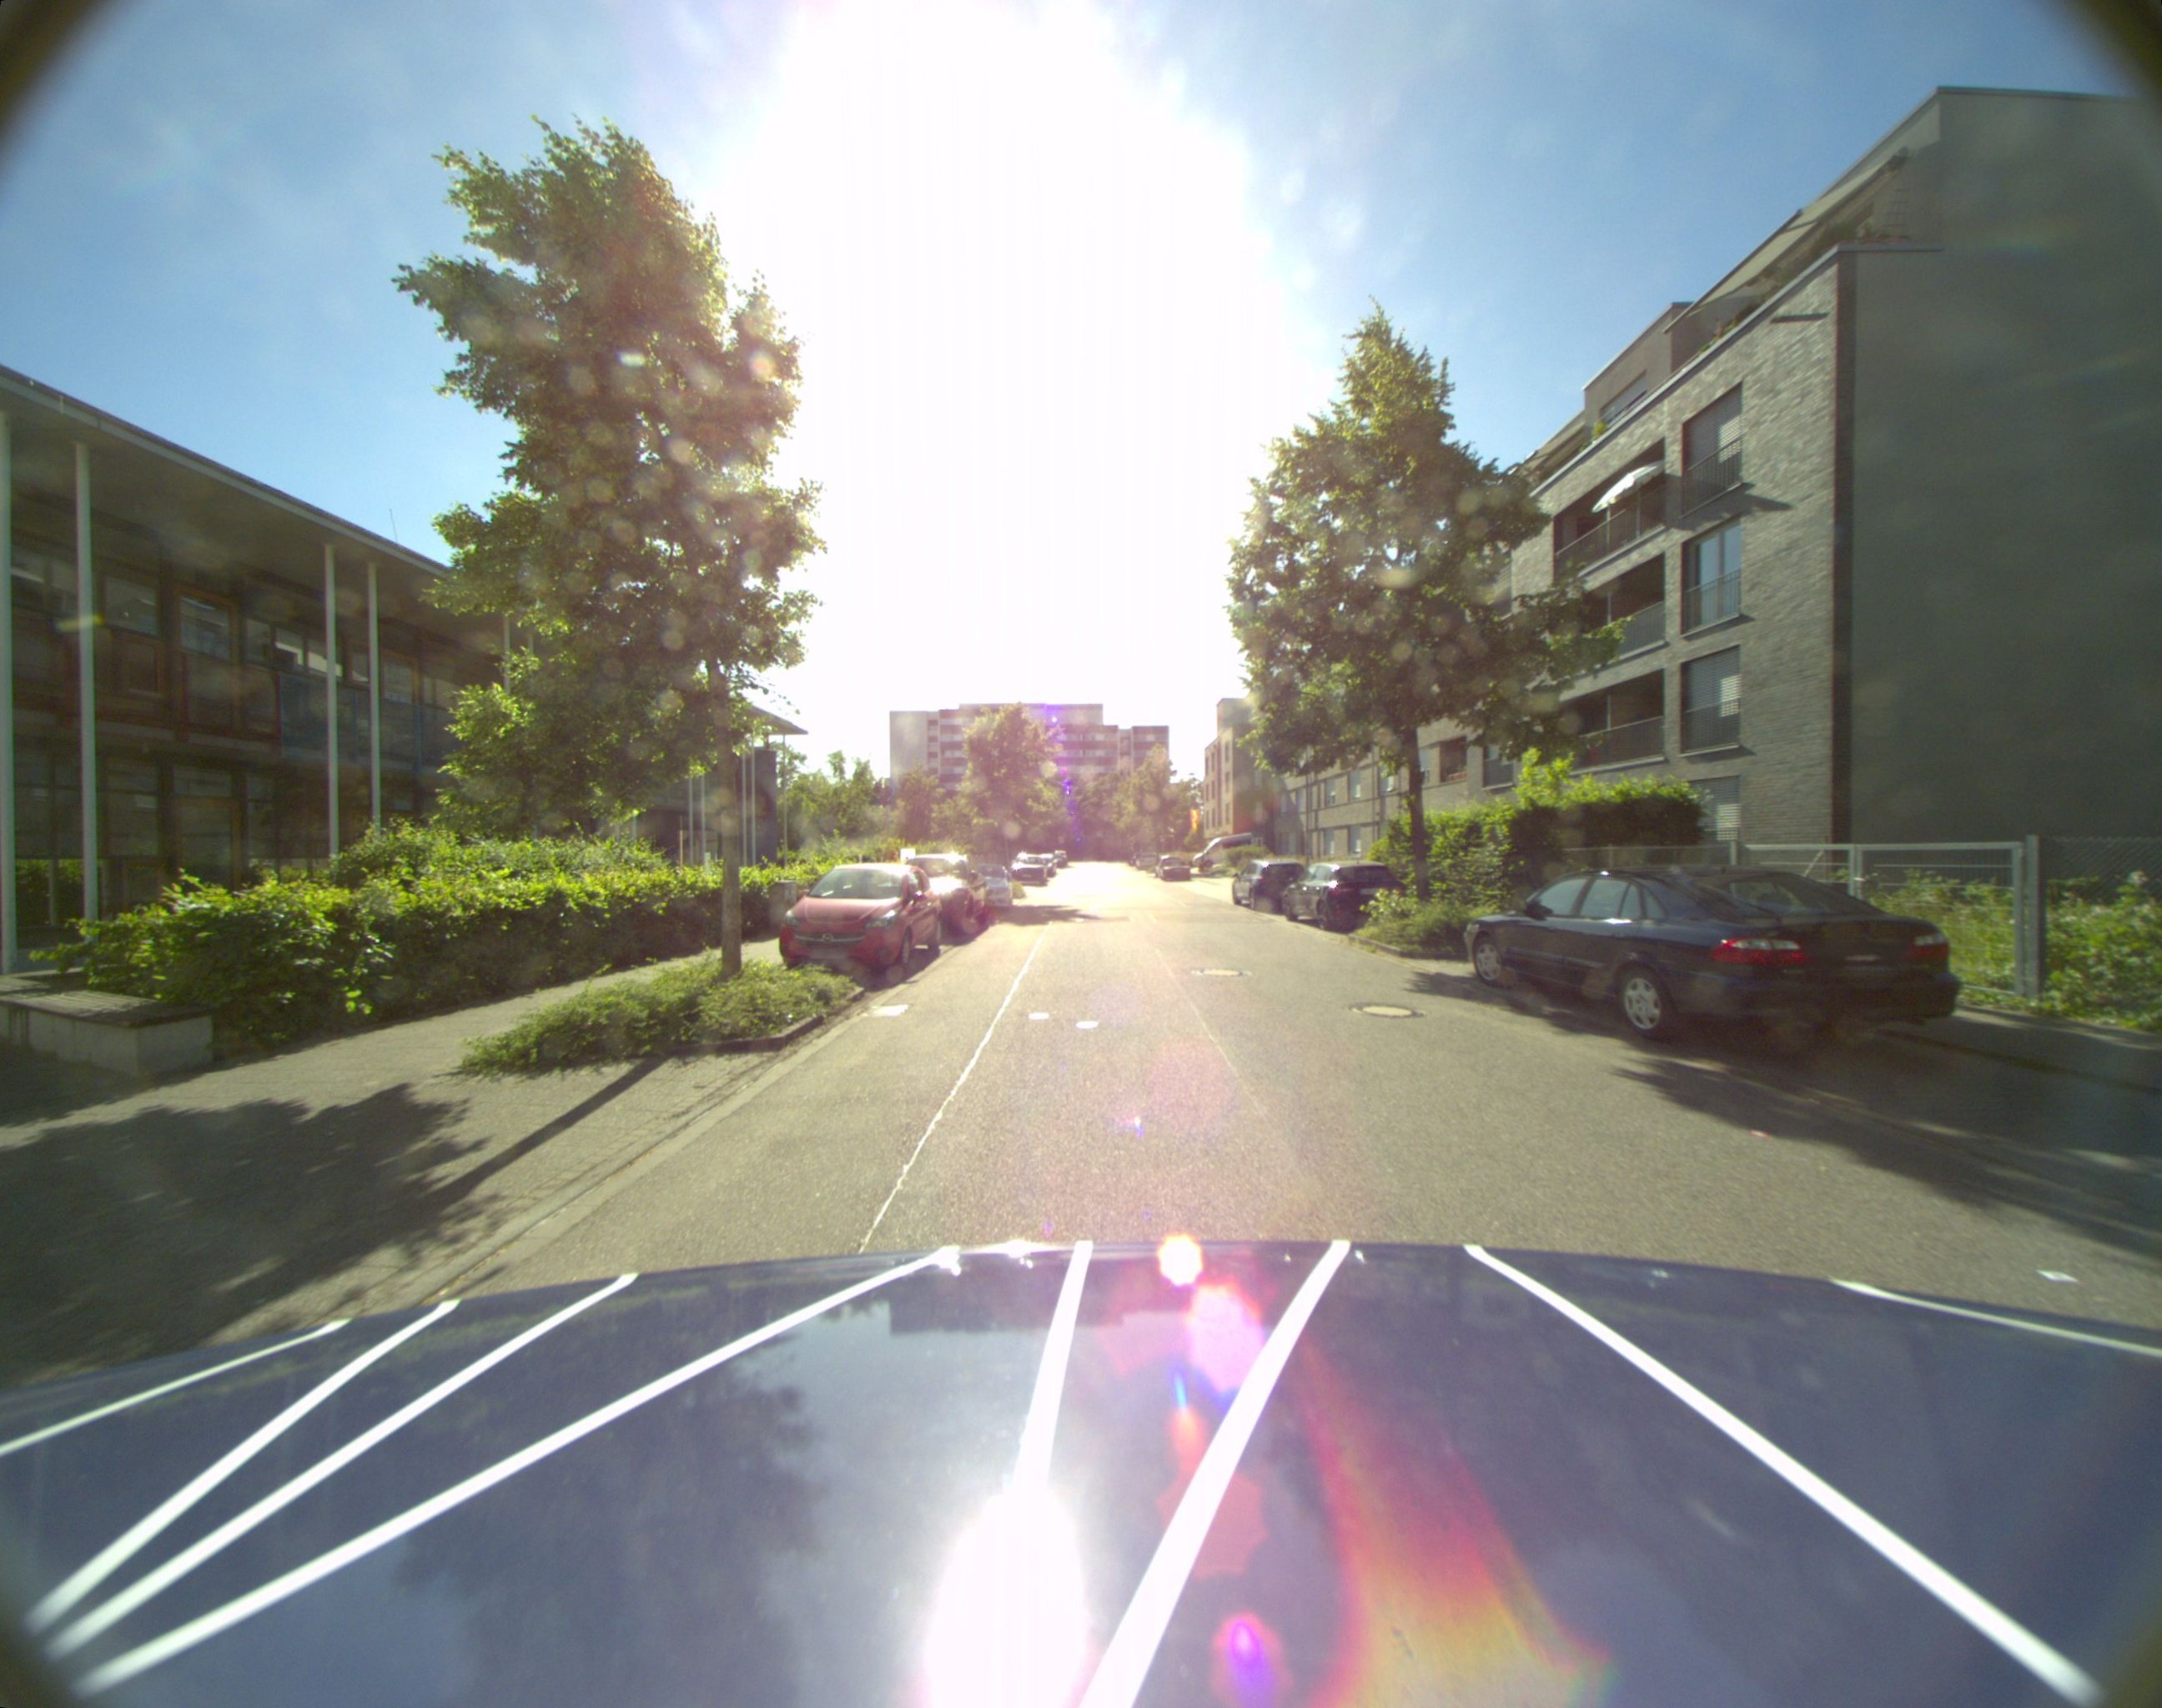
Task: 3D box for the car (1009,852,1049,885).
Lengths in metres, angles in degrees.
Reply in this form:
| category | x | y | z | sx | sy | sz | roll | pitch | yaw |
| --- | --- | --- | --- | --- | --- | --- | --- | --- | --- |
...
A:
| category | x | y | z | sx | sy | sz | roll | pitch | yaw |
| --- | --- | --- | --- | --- | --- | --- | --- | --- | --- |
| car | -2.857 | 0.743 | 42.523 | 1.823 | 1.638 | 4.488 | 3 | 1 | 0 |

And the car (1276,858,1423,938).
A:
| category | x | y | z | sx | sy | sz | roll | pitch | yaw |
| --- | --- | --- | --- | --- | --- | --- | --- | --- | --- |
| car | 5.803 | 0.876 | 16.961 | 1.845 | 1.465 | 4.027 | -2 | 1 | 1 |

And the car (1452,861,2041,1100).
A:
| category | x | y | z | sx | sy | sz | roll | pitch | yaw |
| --- | --- | --- | --- | --- | --- | --- | --- | --- | --- |
| car | 5.566 | 0.882 | 7.315 | 1.845 | 1.465 | 4.359 | -2 | 0 | 1 |

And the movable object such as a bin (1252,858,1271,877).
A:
| category | x | y | z | sx | sy | sz | roll | pitch | yaw |
| --- | --- | --- | --- | --- | --- | --- | --- | --- | --- |
| movable object such as a bin | 10.483 | 0.769 | 44.102 | 0.862 | 1.032 | 0.677 | -3 | 1 | -2 |

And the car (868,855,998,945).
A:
| category | x | y | z | sx | sy | sz | roll | pitch | yaw |
| --- | --- | --- | --- | --- | --- | --- | --- | --- | --- |
| car | -3.107 | 0.888 | 16.917 | 1.905 | 1.673 | 4.411 | 1 | 1 | 1 |

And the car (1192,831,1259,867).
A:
| category | x | y | z | sx | sy | sz | roll | pitch | yaw |
| --- | --- | --- | --- | --- | --- | --- | --- | --- | --- |
| car | 11.955 | -0.409 | 62.958 | 5.153 | 2.886 | 2.013 | 0 | 1 | -3 |

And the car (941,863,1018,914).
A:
| category | x | y | z | sx | sy | sz | roll | pitch | yaw |
| --- | --- | --- | --- | --- | --- | --- | --- | --- | --- |
| car | -3.106 | 1.014 | 24.119 | 1.968 | 1.312 | 4.774 | 2 | 0 | -3 |

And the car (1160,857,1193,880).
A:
| category | x | y | z | sx | sy | sz | roll | pitch | yaw |
| --- | --- | --- | --- | --- | --- | --- | --- | --- | --- |
| car | 5.830 | 0.838 | 46.774 | 1.631 | 1.240 | 3.562 | -3 | 0 | 1 |

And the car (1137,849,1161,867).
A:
| category | x | y | z | sx | sy | sz | roll | pitch | yaw |
| --- | --- | --- | --- | --- | --- | --- | --- | --- | --- |
| car | 6.423 | 0.375 | 71.996 | 1.795 | 1.590 | 3.889 | -2 | 1 | -2 |

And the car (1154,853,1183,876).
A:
| category | x | y | z | sx | sy | sz | roll | pitch | yaw |
| --- | --- | --- | --- | --- | --- | --- | --- | --- | --- |
| car | 5.967 | 0.687 | 52.160 | 1.631 | 1.515 | 3.562 | 0 | 0 | 0 |

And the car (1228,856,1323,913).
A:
| category | x | y | z | sx | sy | sz | roll | pitch | yaw |
| --- | --- | --- | --- | --- | --- | --- | --- | --- | --- |
| car | 5.785 | 0.858 | 23.106 | 1.845 | 1.465 | 4.099 | -2 | 0 | 1 |

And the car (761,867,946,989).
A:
| category | x | y | z | sx | sy | sz | roll | pitch | yaw |
| --- | --- | --- | --- | --- | --- | --- | --- | --- | --- |
| car | -3.255 | 0.981 | 11.651 | 1.679 | 1.495 | 3.846 | 0 | 0 | 0 |

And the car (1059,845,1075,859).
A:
| category | x | y | z | sx | sy | sz | roll | pitch | yaw |
| --- | --- | --- | --- | --- | --- | --- | --- | --- | --- |
| car | -1.595 | -0.208 | 88.271 | 1.644 | 1.458 | 3.702 | 3 | 2 | 0 |

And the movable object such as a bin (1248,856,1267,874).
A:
| category | x | y | z | sx | sy | sz | roll | pitch | yaw |
| --- | --- | --- | --- | --- | --- | --- | --- | --- | --- |
| movable object such as a bin | 10.407 | 0.639 | 44.850 | 0.921 | 1.032 | 0.681 | -3 | 1 | -2 |

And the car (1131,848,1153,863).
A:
| category | x | y | z | sx | sy | sz | roll | pitch | yaw |
| --- | --- | --- | --- | --- | --- | --- | --- | --- | --- |
| car | 6.480 | 0.160 | 80.908 | 1.795 | 1.509 | 3.889 | -2 | 1 | -2 |

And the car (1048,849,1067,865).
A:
| category | x | y | z | sx | sy | sz | roll | pitch | yaw |
| --- | --- | --- | --- | --- | --- | --- | --- | --- | --- |
| car | -2.341 | 0.304 | 76.415 | 1.644 | 1.458 | 3.702 | 3 | 2 | 0 |

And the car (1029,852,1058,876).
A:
| category | x | y | z | sx | sy | sz | roll | pitch | yaw |
| --- | --- | --- | --- | --- | --- | --- | --- | --- | --- |
| car | -2.649 | 0.716 | 54.234 | 1.823 | 1.458 | 3.841 | 3 | 2 | 0 |
